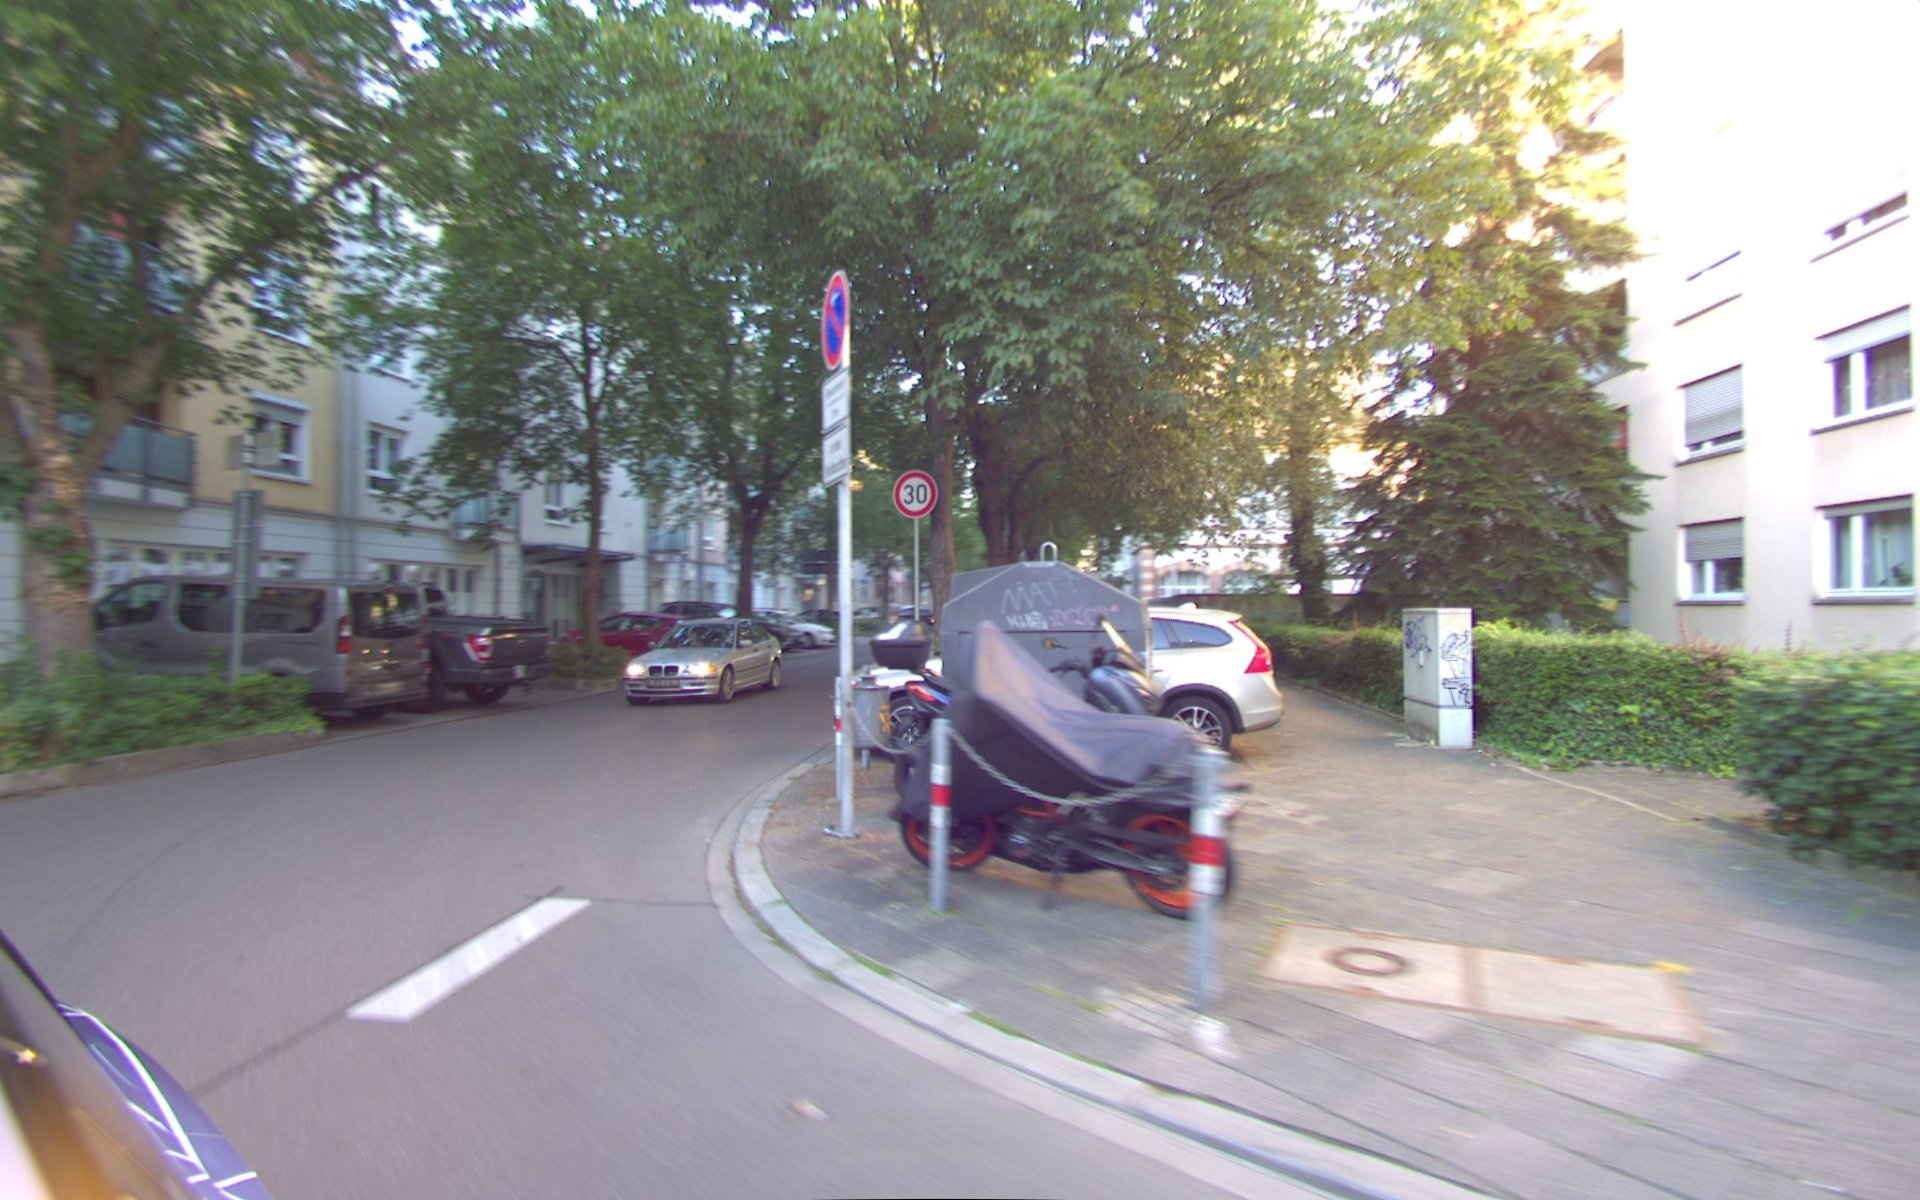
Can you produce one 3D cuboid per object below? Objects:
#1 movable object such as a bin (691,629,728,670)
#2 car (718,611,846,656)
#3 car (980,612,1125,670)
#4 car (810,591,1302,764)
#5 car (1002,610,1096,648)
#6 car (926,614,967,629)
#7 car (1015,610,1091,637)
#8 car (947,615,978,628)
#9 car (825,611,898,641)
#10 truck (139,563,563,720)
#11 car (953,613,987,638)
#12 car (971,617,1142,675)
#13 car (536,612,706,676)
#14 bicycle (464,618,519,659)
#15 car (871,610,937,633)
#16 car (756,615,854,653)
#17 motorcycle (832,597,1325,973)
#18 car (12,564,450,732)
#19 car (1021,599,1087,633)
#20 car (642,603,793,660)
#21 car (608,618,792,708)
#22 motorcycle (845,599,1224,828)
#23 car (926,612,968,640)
[{"bbox_3d":[-7.054,1.391,28.528,0.754,1.092,0.784,1,-1,7],"label":"movable object such as a bin"},{"bbox_3d":[-6.904,1.283,39.507,4.558,1.479,1.793,3,-1,6],"label":"car"},{"bbox_3d":[2.677,1.137,28.913,3.958,1.577,1.922,-1,-1,12],"label":"car"},{"bbox_3d":[0.953,0.744,10.515,4.581,1.564,2.070,-1,-1,9],"label":"car"},{"bbox_3d":[4.347,1.410,49.619,4.462,1.785,1.997,-1,-1,5],"label":"car"},{"bbox_3d":[-1.357,2.141,101.683,4.041,1.502,1.796,0,-1,3],"label":"car"},{"bbox_3d":[6.054,1.525,65.931,4.810,1.634,2.155,-1,-1,7],"label":"car"},{"bbox_3d":[0.372,2.578,123.078,3.685,1.565,1.753,0,-1,4],"label":"car"},{"bbox_3d":[-5.775,1.505,59.647,3.933,1.597,1.913,2,-1,6],"label":"car"},{"bbox_3d":[-9.767,0.642,16.484,5.836,2.328,2.208,0,-1,7],"label":"truck"},{"bbox_3d":[0.814,1.920,77.666,1.978,1.863,3.988,-2,-1,10],"label":"car"},{"bbox_3d":[2.470,1.165,26.150,4.249,1.440,1.876,0,-1,6],"label":"car"},{"bbox_3d":[-8.699,1.122,26.159,3.741,1.556,1.875,-1,-1,5],"label":"car"},{"bbox_3d":[-12.689,1.021,27.455,0.420,1.045,1.878,1,-1,6],"label":"bicycle"},{"bbox_3d":[-4.005,1.541,72.679,4.425,1.438,2.004,2,0,11],"label":"car"},{"bbox_3d":[-6.945,1.512,45.663,4.040,1.462,1.934,3,-1,1],"label":"car"},{"bbox_3d":[0.485,0.719,4.881,2.250,1.431,0.841,-1,-1,37],"label":"motorcycle"},{"bbox_3d":[-9.798,0.615,13.872,4.557,2.082,2.194,0,-1,5],"label":"car"},{"bbox_3d":[7.268,1.224,78.272,4.958,2.592,2.117,-1,-1,6],"label":"car"},{"bbox_3d":[-8.227,1.047,34.568,4.595,1.630,2.008,3,-1,3],"label":"car"},{"bbox_3d":[-4.422,1.018,17.950,1.717,1.381,4.323,-1,-1,7],"label":"car"},{"bbox_3d":[0.501,0.721,6.965,2.432,1.431,0.908,0,-1,8],"label":"motorcycle"},{"bbox_3d":[-0.782,1.637,63.605,1.874,1.658,3.988,-2,-1,10],"label":"car"}]
